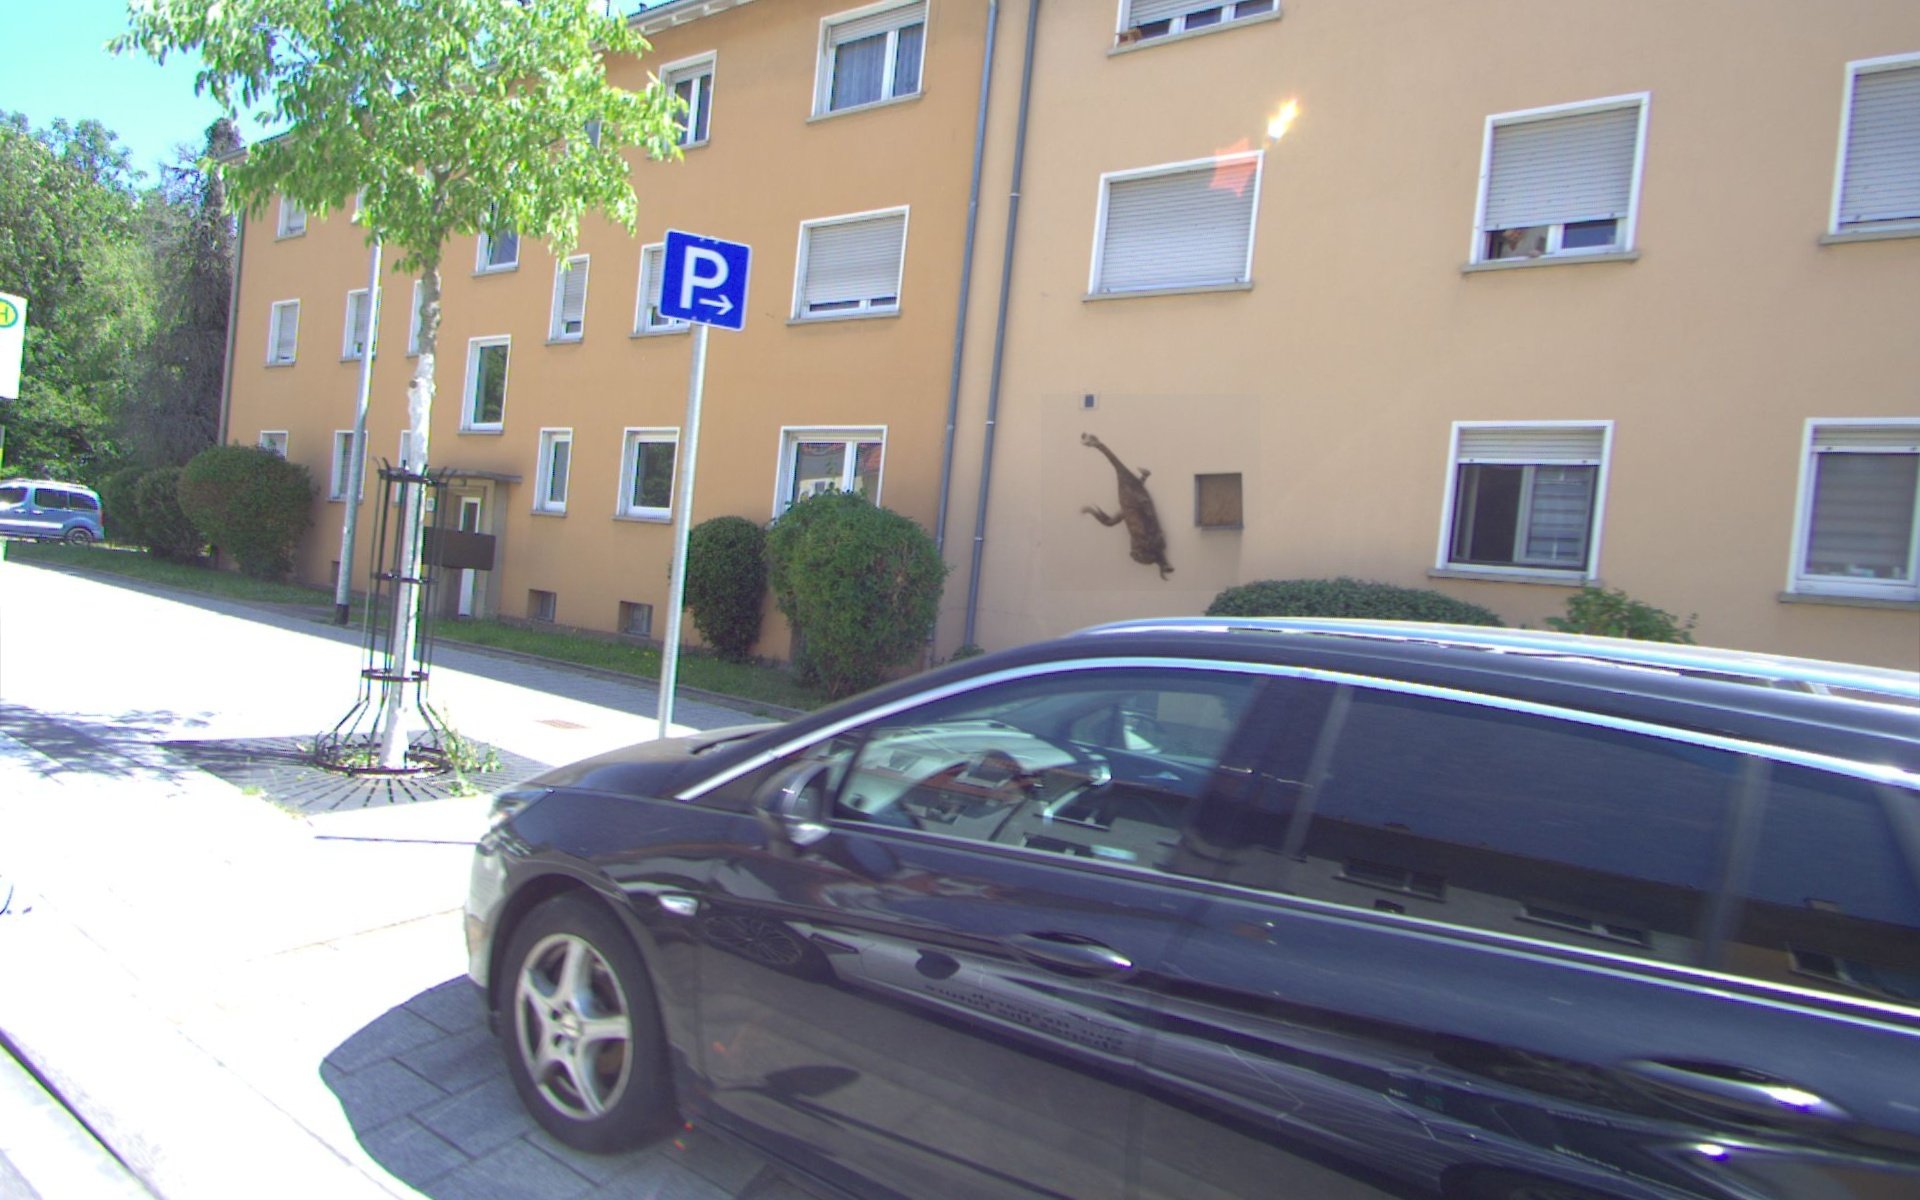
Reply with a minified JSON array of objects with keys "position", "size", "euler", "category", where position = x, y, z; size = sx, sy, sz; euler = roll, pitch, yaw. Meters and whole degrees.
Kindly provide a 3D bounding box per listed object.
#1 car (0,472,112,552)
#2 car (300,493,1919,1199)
[{"position":[-26.779,-2.601,28.058],"size":[1.718,1.860,4.352],"euler":[6,-2,23],"category":"car"},{"position":[0.700,0.719,2.406],"size":[4.979,1.524,1.834],"euler":[7,2,32],"category":"car"}]
